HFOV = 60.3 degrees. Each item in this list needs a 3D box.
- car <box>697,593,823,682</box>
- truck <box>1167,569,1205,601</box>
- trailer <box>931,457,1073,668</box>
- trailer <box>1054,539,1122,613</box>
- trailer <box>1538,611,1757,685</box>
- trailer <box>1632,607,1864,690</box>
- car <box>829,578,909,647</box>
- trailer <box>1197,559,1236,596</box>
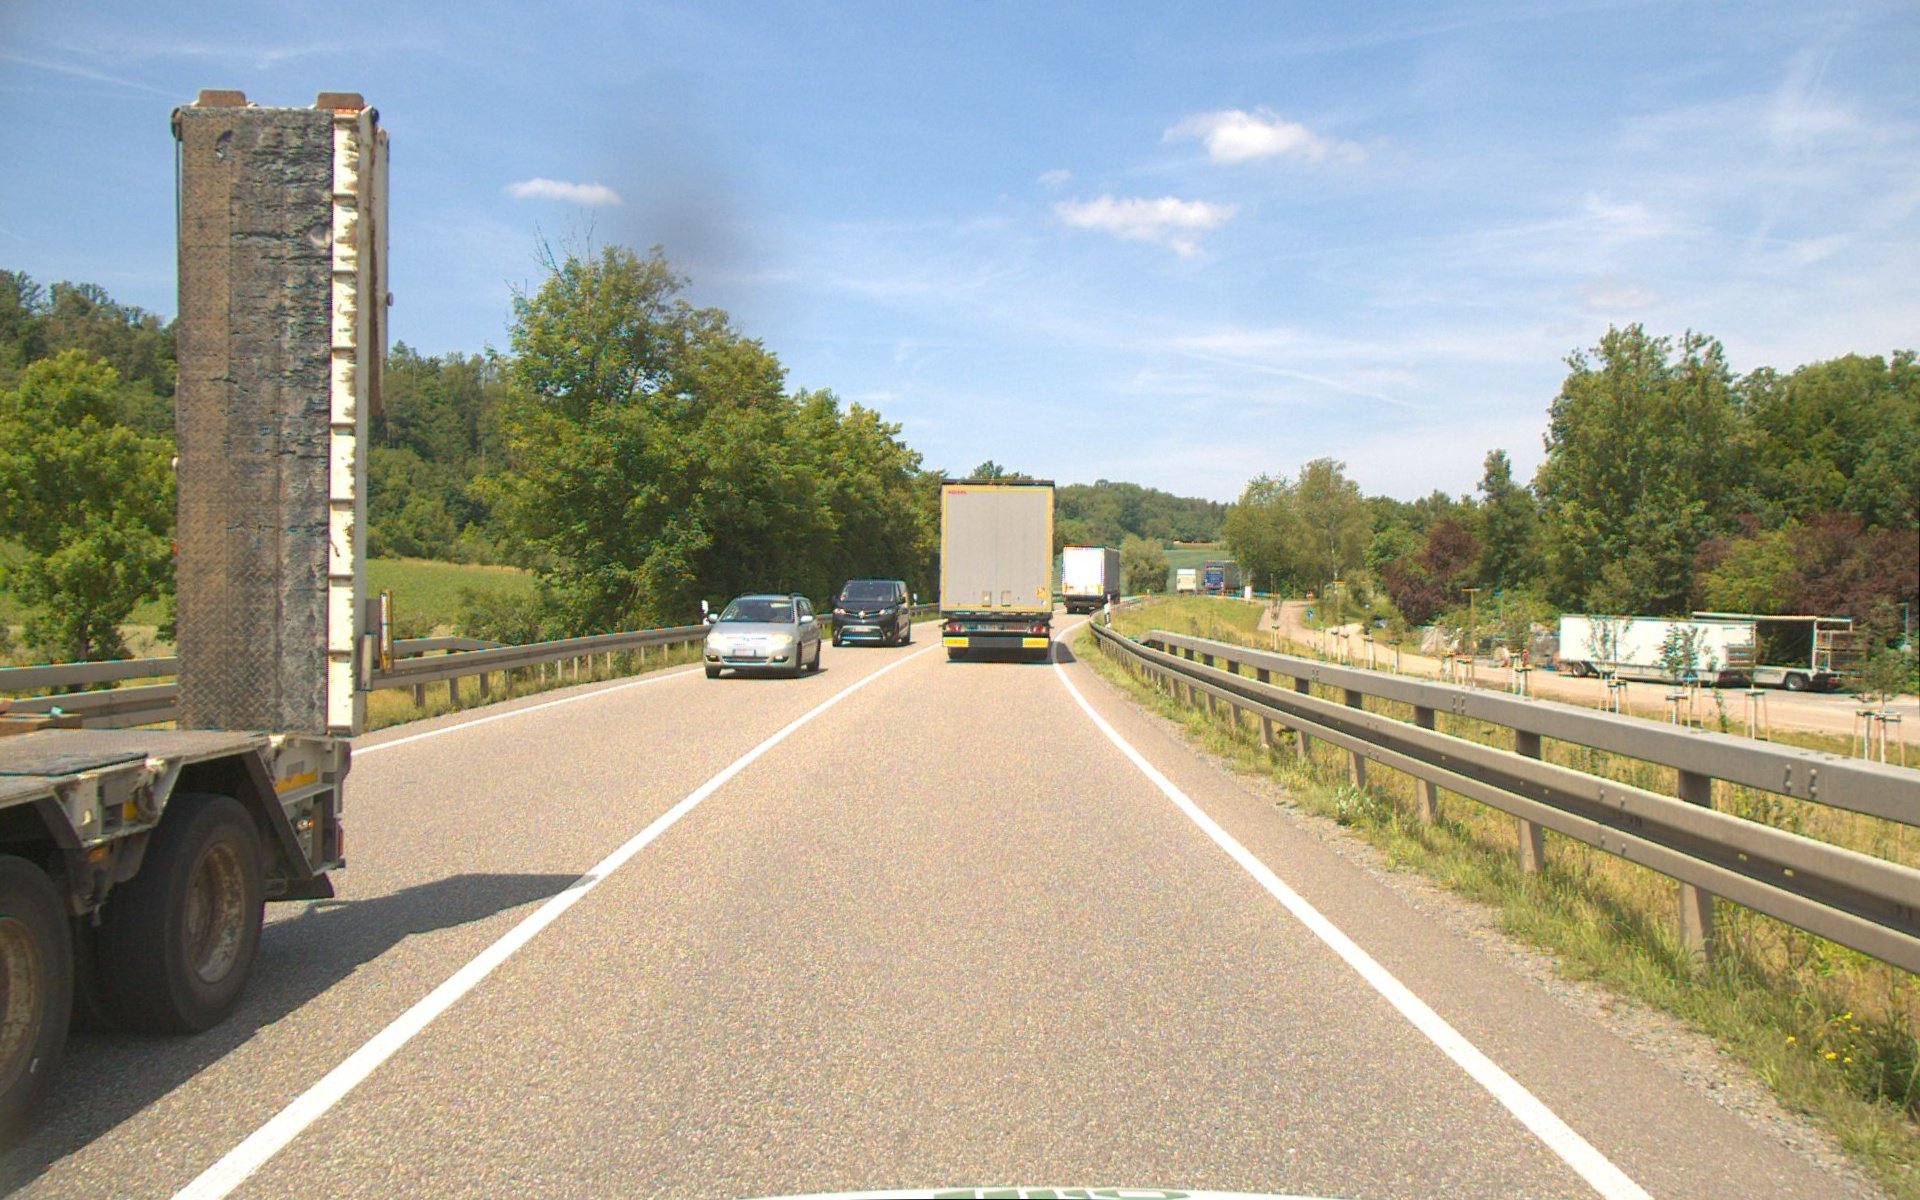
[{"bbox_3d":[-3.610,0.641,30.506,1.731,1.520,4.170,0,0,1],"label":"car"},{"bbox_3d":[25.610,-1.690,187.203,3.154,3.424,11.884,0,0,13],"label":"truck"},{"bbox_3d":[1.049,-0.885,42.953,3.054,4.578,13.888,1,1,1],"label":"trailer"},{"bbox_3d":[8.295,-1.394,105.440,3.293,4.392,13.875,0,0,9],"label":"trailer"},{"bbox_3d":[35.455,2.366,86.013,2.684,3.386,11.799,0,1,-25],"label":"trailer"},{"bbox_3d":[39.667,2.347,83.955,2.682,3.669,11.809,1,0,-23],"label":"trailer"},{"bbox_3d":[-2.581,0.343,48.067,1.882,1.892,5.177,0,0,2],"label":"car"},{"bbox_3d":[32.462,-2.800,208.780,3.570,4.337,12.203,0,0,15],"label":"trailer"}]
